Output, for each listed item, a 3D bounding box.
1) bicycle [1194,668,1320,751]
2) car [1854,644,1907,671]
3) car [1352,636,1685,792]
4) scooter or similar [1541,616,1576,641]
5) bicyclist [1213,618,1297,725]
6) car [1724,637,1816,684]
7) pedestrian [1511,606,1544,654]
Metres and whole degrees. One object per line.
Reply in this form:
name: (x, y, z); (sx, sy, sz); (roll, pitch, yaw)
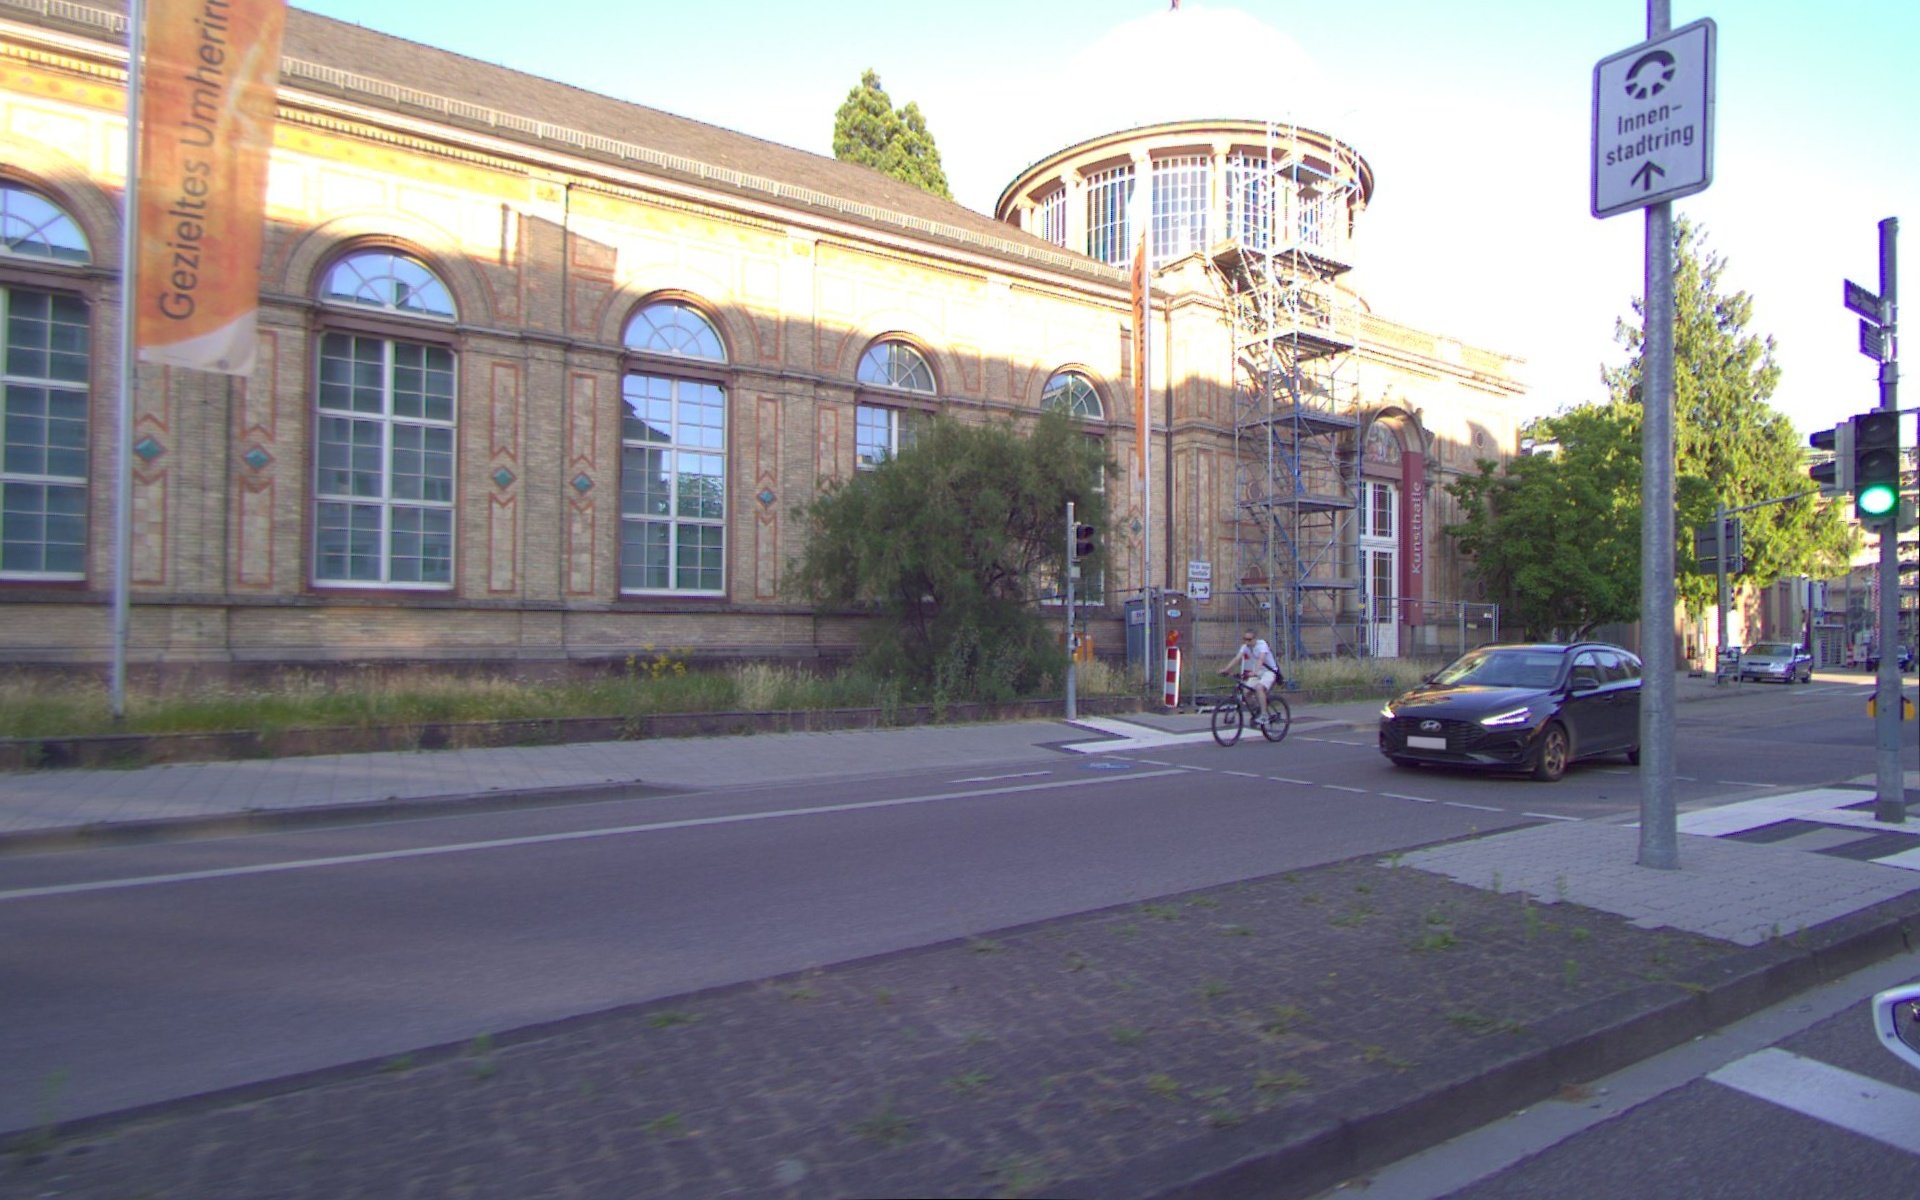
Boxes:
bicycle: (4.321, 1.549, 14.571); (1.915, 1.104, 0.748); (2, -4, -37)
car: (48.423, 3.016, 52.798); (3.858, 1.368, 1.665); (2, -4, -42)
car: (6.730, 1.199, 11.938); (4.385, 1.528, 1.811); (2, -2, -36)
scooter or similar: (19.688, 0.947, 33.047); (1.019, 0.788, 0.673); (2, -2, -37)
bicyclist: (4.279, 1.026, 14.567); (0.928, 1.479, 0.742); (2, -4, -37)
car: (29.345, 2.199, 36.333); (4.333, 1.567, 1.730); (4, -2, -39)
pedestrian: (19.322, 1.022, 34.186); (0.755, 1.599, 0.730); (1, -2, -36)
